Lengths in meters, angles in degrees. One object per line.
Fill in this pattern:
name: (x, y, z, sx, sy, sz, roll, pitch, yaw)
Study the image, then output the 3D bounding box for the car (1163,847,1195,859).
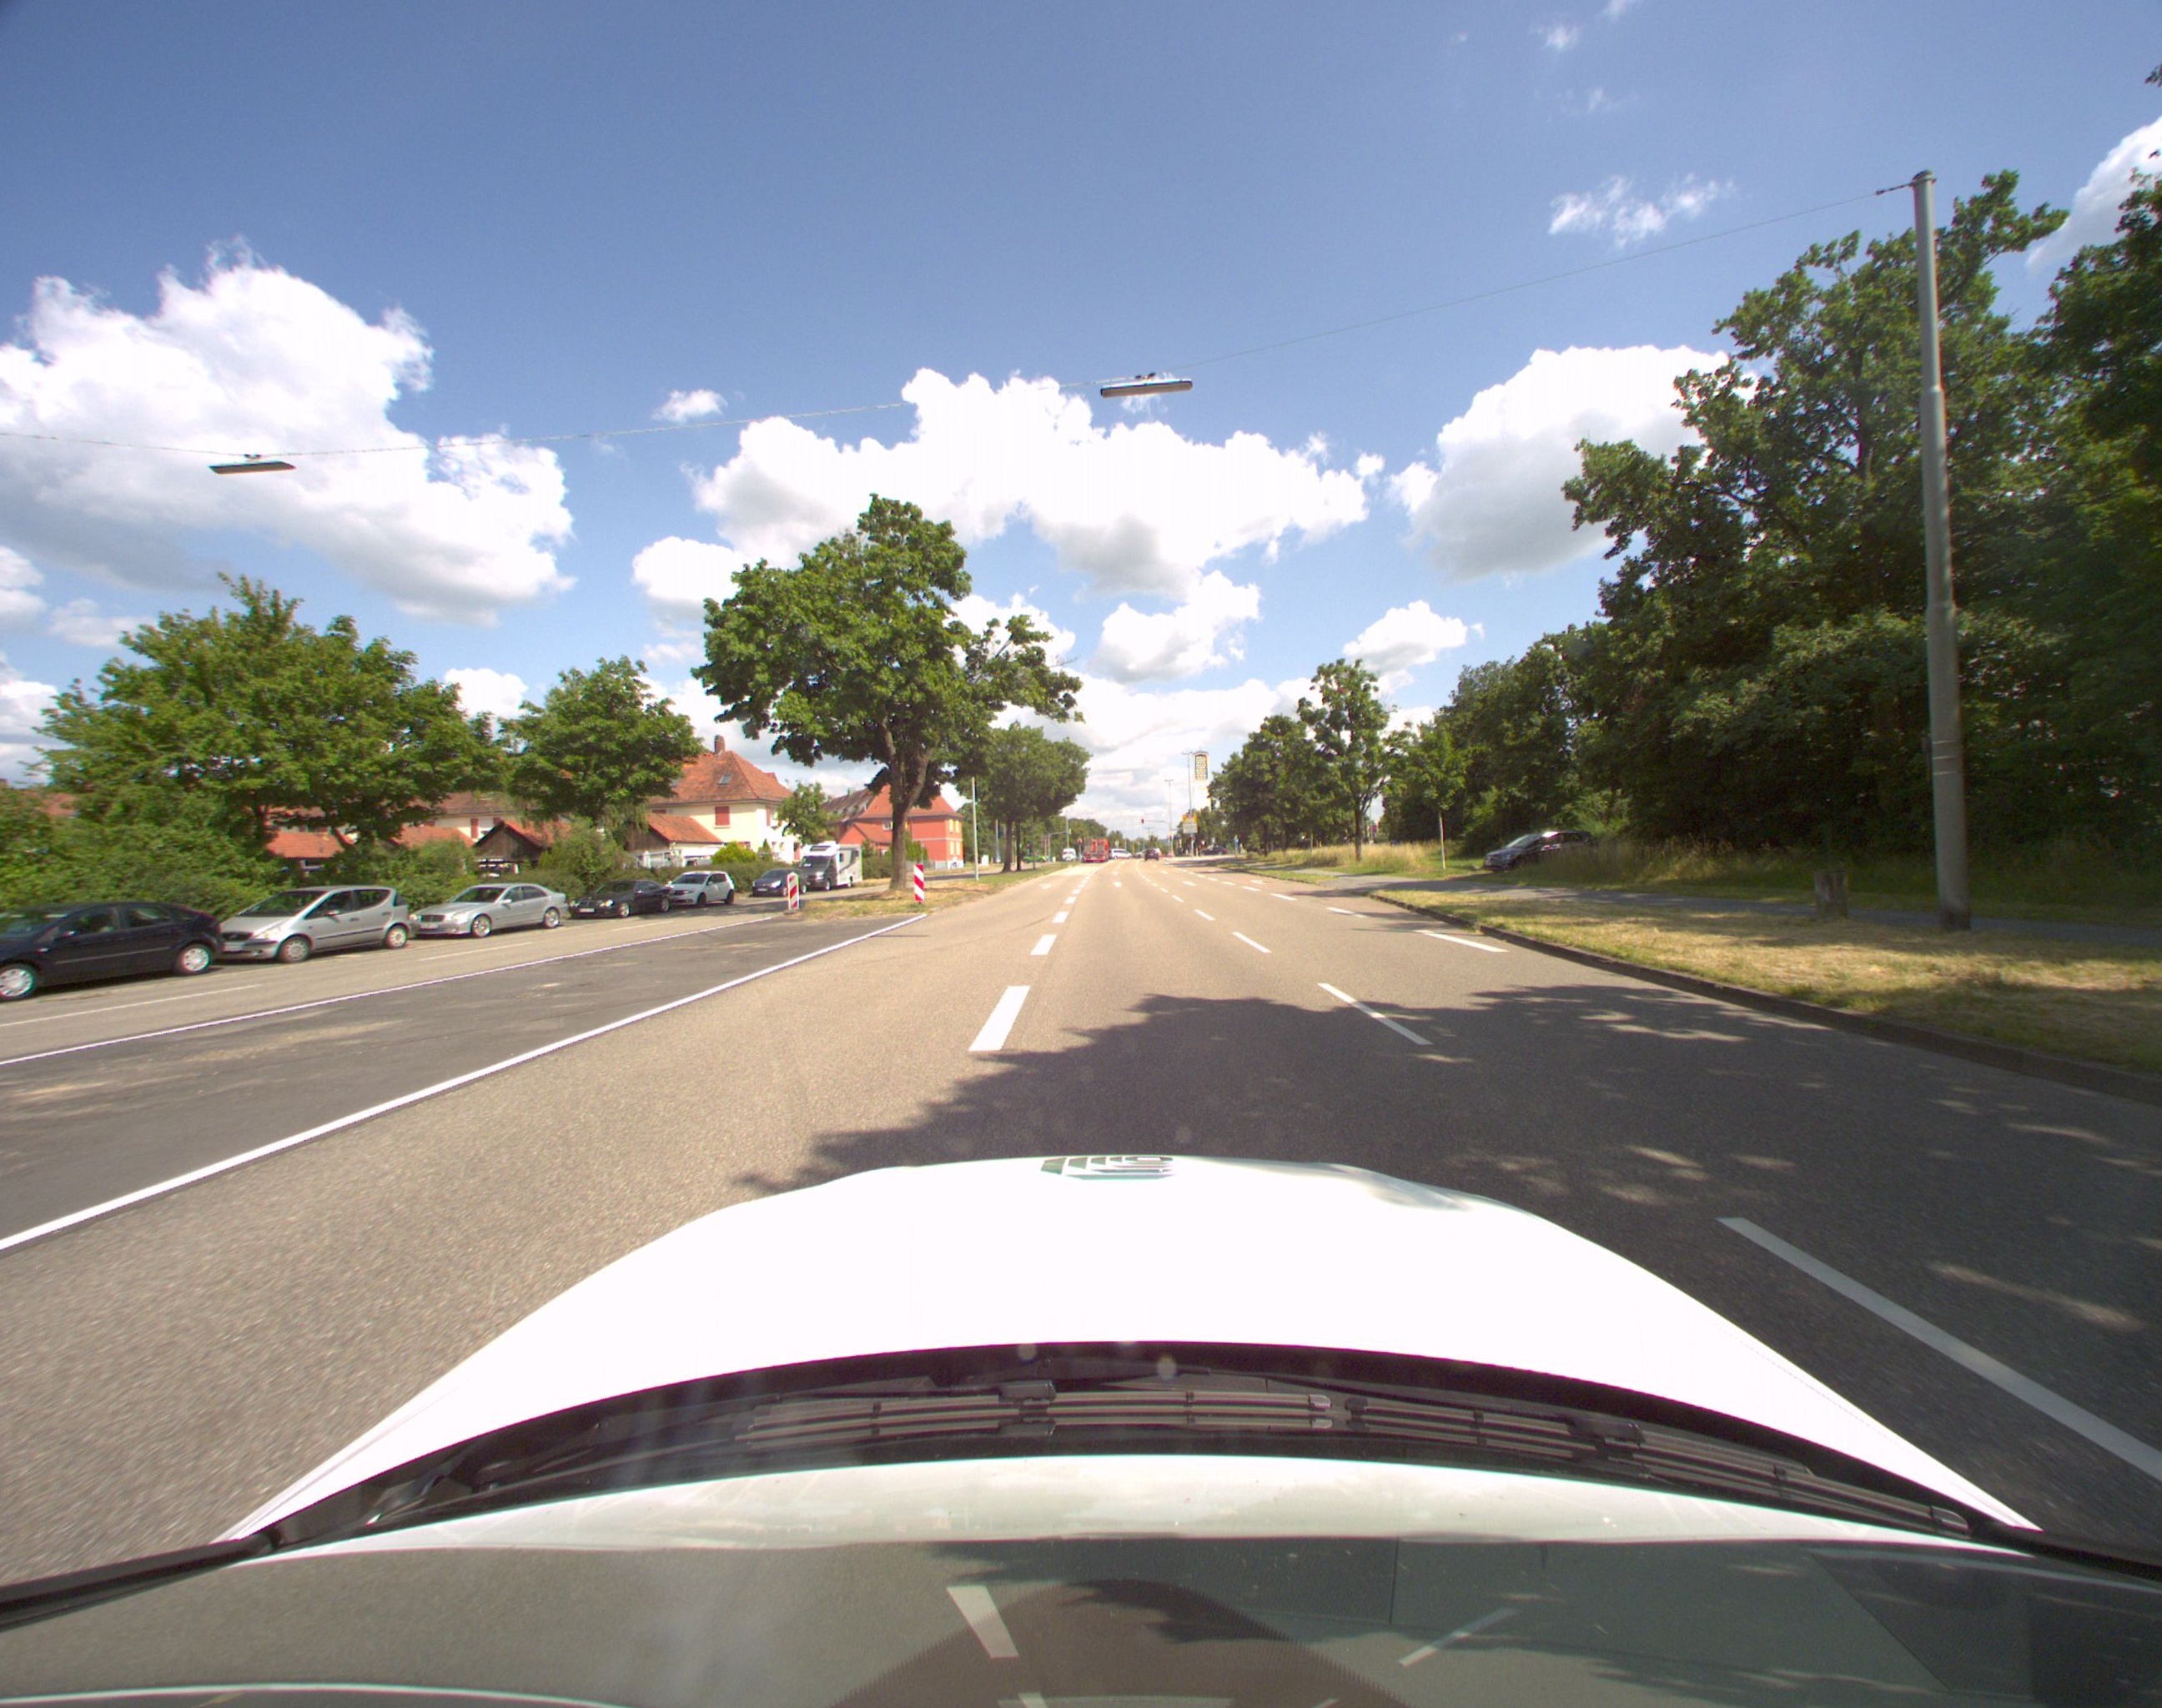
car: (12.118, -0.098, 100.849, 3.578, 1.442, 1.469, 0, -1, -15)

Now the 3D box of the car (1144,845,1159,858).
car: (9.125, -0.309, 105.701, 1.791, 1.552, 4.004, 0, -1, 4)

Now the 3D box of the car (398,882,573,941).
car: (-17.063, 1.596, 23.659, 1.504, 1.370, 4.536, 0, 0, 4)

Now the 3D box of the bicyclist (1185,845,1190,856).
bicyclist: (15.386, -0.511, 117.478, 0.643, 1.661, 0.653, 0, -1, 19)

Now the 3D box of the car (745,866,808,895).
car: (-16.276, 1.390, 43.700, 1.629, 1.485, 3.996, 0, -1, 4)

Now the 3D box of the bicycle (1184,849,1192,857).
bicycle: (15.450, -0.098, 117.657, 0.643, 1.107, 1.937, 0, -1, 19)

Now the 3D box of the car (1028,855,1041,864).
car: (-7.572, 0.904, 133.139, 1.629, 1.485, 3.996, 0, -1, 4)

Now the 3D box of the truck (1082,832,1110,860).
truck: (2.018, -0.925, 105.318, 3.057, 3.414, 11.078, 0, -1, 4)

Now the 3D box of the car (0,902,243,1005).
car: (-17.556, 1.666, 14.148, 1.397, 1.395, 4.359, 0, 0, 2)

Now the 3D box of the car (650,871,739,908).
car: (-16.711, 1.493, 35.479, 1.681, 1.485, 4.128, 0, -1, 4)

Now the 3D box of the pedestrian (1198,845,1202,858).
pedestrian: (16.892, -0.394, 115.367, 0.461, 1.779, 0.484, 0, -1, 15)

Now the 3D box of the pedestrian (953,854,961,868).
pedestrian: (-14.755, 0.847, 96.893, 0.693, 1.583, 0.852, 0, -1, 3)

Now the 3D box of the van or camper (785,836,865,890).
van or camper: (-15.875, 0.484, 51.092, 2.249, 3.112, 7.327, 0, 1, 4)

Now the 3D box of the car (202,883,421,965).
car: (-17.458, 1.516, 18.740, 1.397, 1.557, 3.743, 0, 0, 2)

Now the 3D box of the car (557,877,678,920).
car: (-16.998, 1.600, 30.180, 1.629, 1.306, 4.589, 0, 0, 4)

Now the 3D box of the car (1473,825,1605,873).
car: (17.861, -0.230, 31.853, 4.155, 1.493, 1.782, -5, 2, -4)
